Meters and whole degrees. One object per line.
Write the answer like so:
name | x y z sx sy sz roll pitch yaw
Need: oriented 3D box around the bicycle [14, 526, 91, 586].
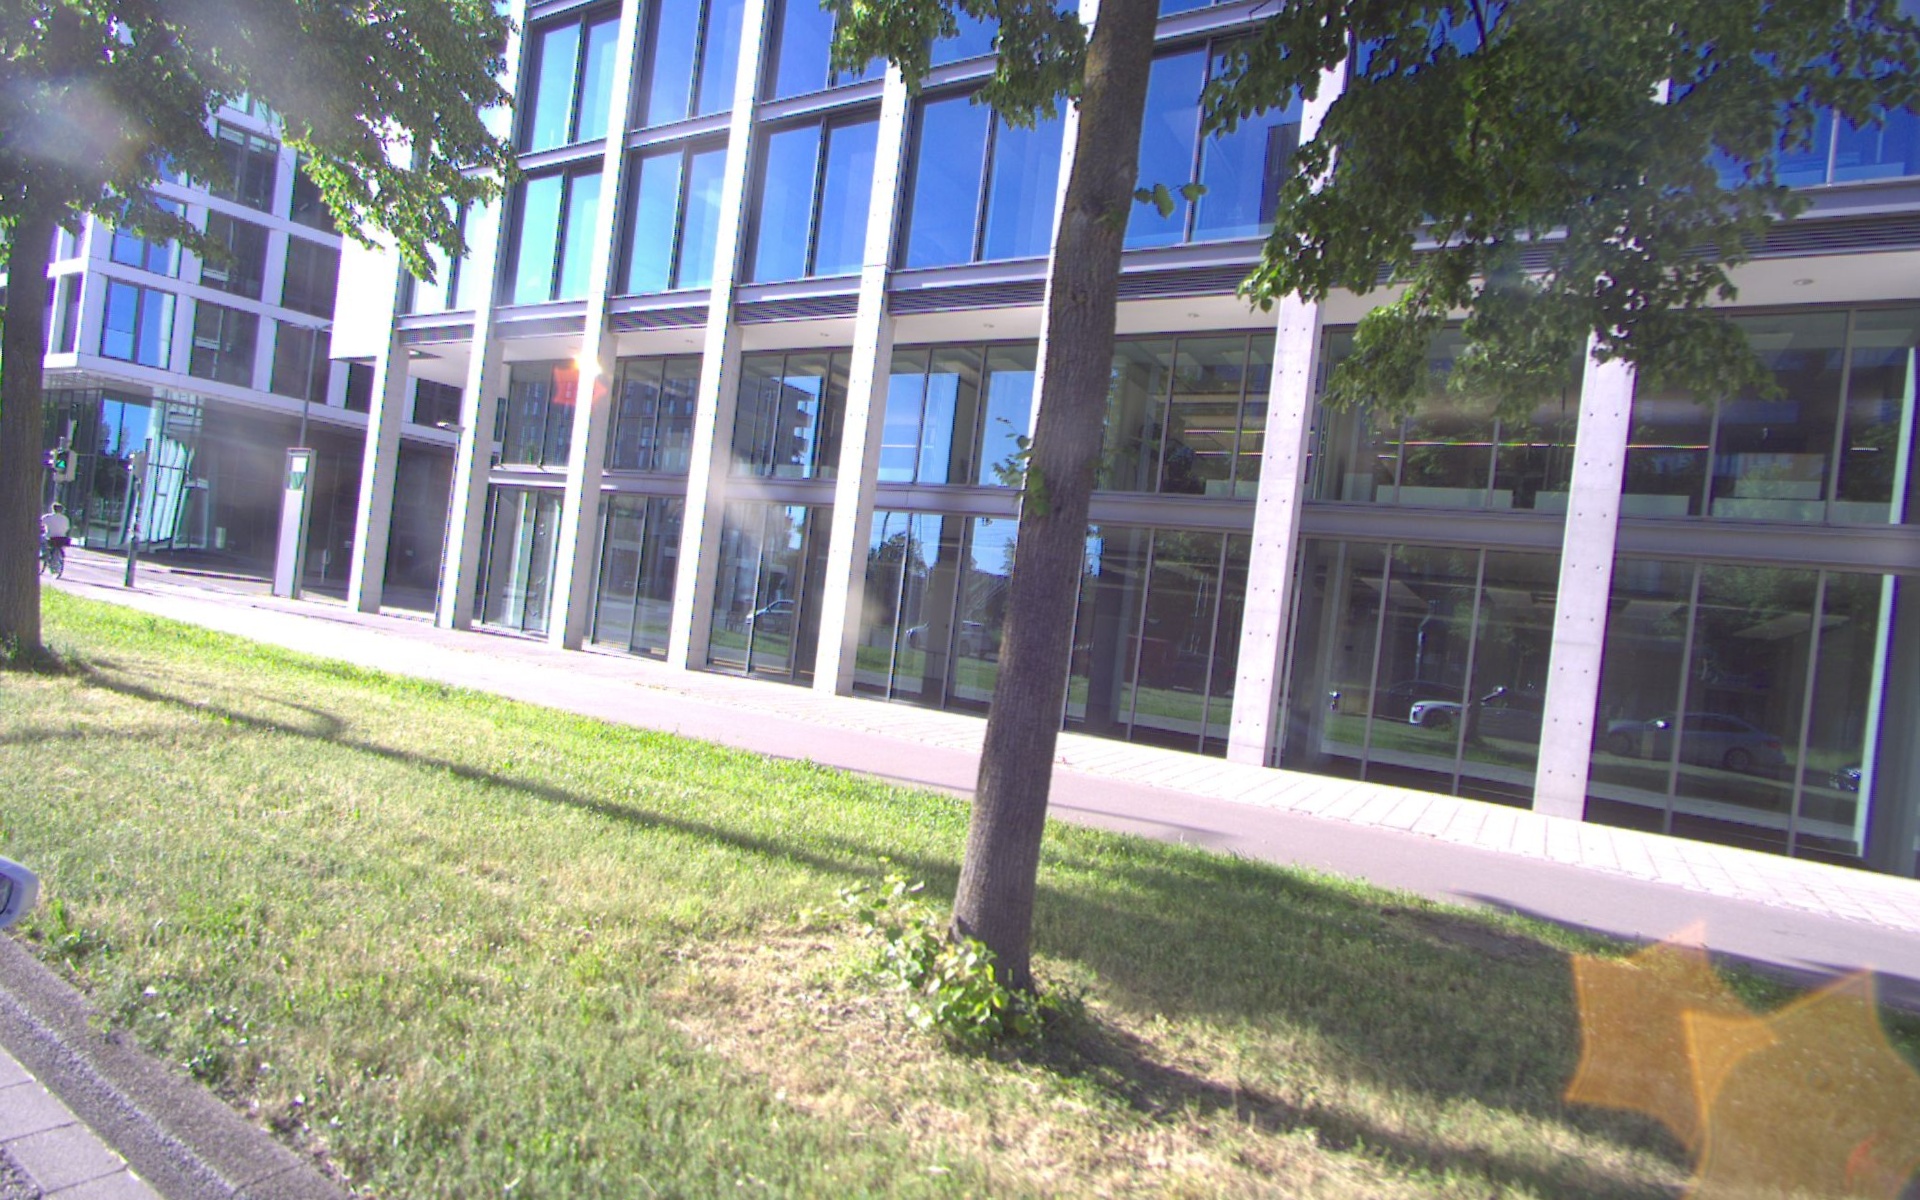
bicycle | -21.355 -1.041 23.653 1.929 1.188 0.742 6 -1 32

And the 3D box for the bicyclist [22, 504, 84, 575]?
bicyclist | -21.397 -1.425 23.730 0.835 1.550 0.772 7 0 31
